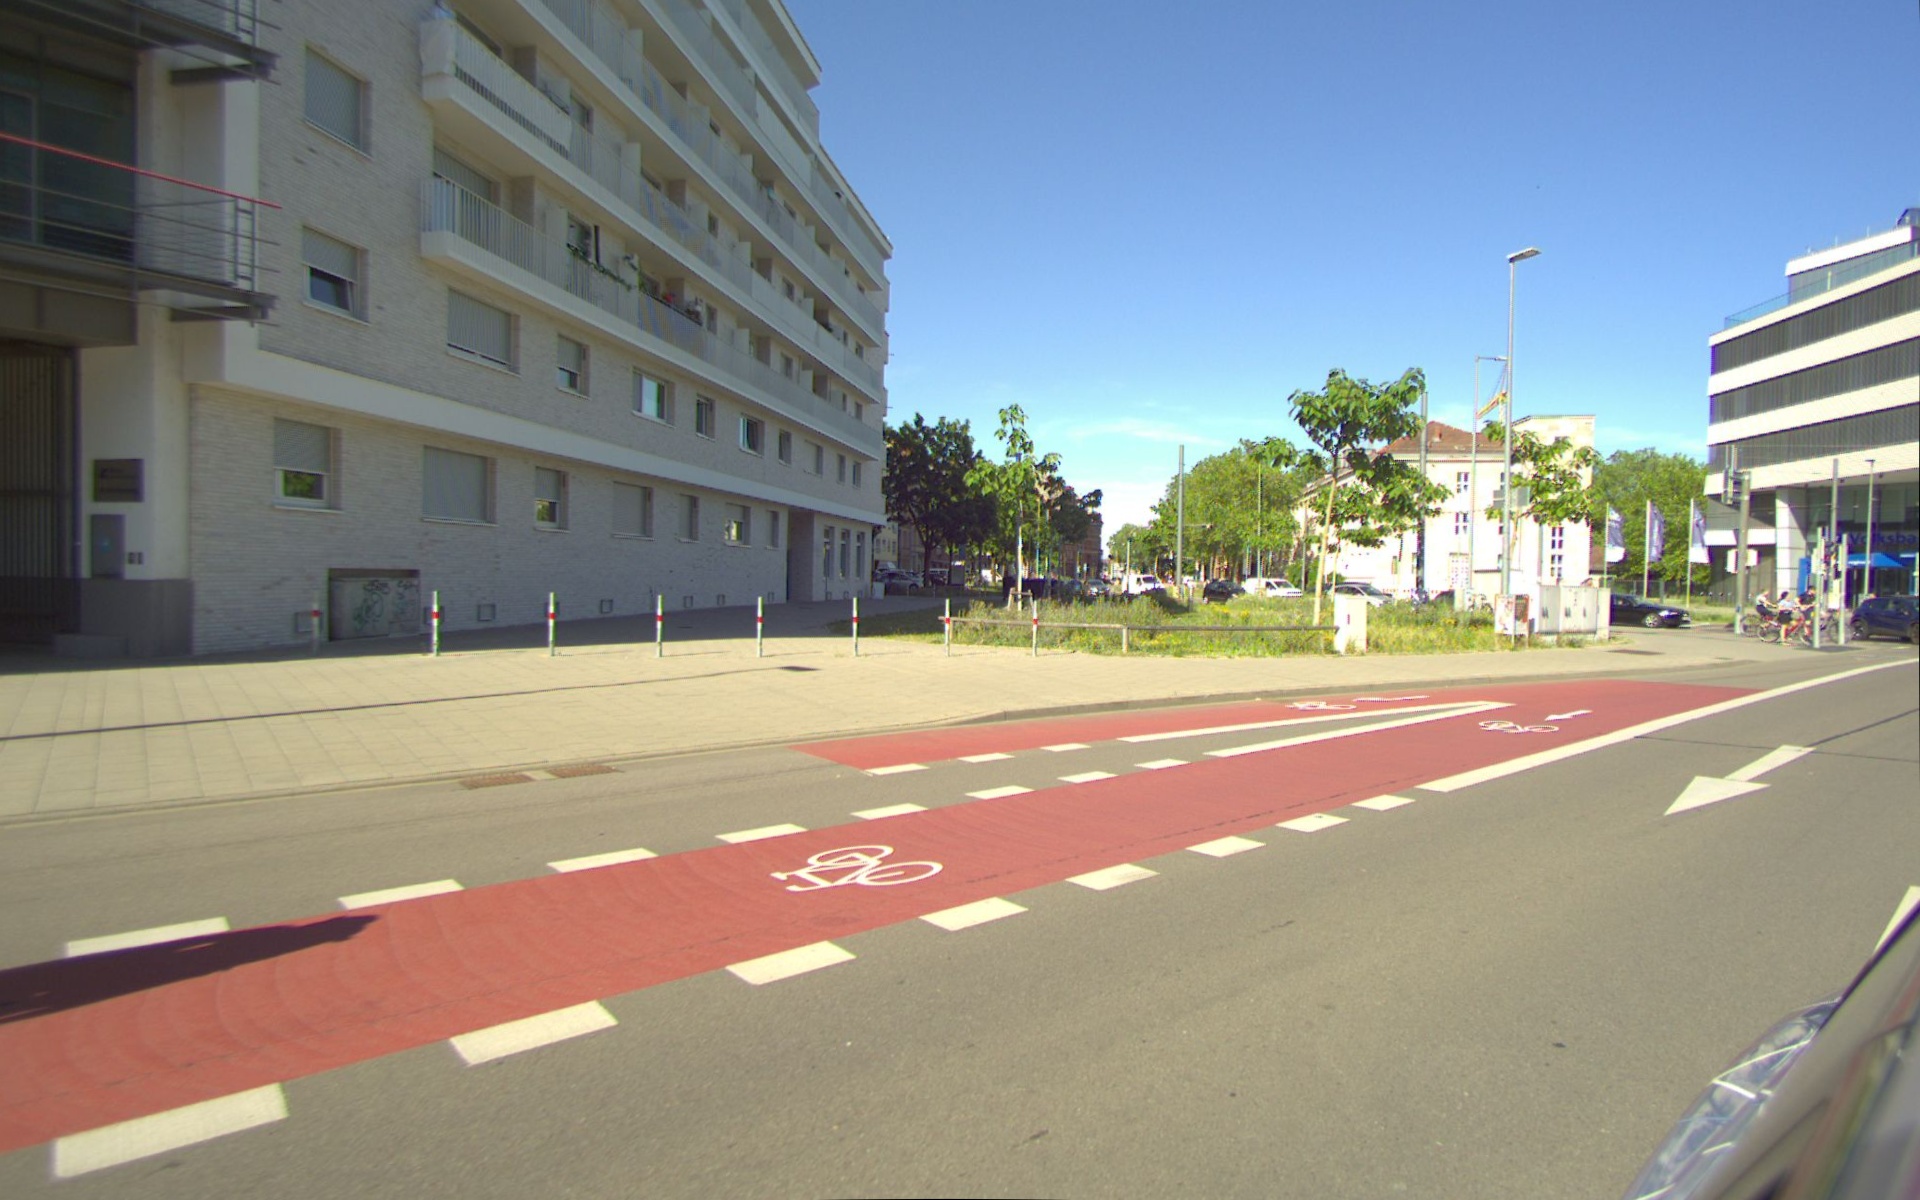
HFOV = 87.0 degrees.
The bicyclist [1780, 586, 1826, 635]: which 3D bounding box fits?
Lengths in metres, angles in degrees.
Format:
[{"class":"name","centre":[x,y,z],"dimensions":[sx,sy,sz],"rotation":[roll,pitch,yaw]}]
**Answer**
[{"class":"bicyclist","centre":[25.132,0.307,30.173],"dimensions":[0.578,1.421,0.829],"rotation":[1,2,-29]}]

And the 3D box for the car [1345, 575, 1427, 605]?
[{"class":"car","centre":[23.968,-0.608,57.044],"dimensions":[1.836,1.575,4.007],"rotation":[0,2,-27]}]

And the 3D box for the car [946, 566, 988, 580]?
[{"class":"car","centre":[0.783,-3.036,114.977],"dimensions":[4.308,1.479,2.005],"rotation":[0,2,-17]}]

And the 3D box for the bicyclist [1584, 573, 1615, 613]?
[{"class":"bicyclist","centre":[23.253,-0.277,36.802],"dimensions":[0.688,1.394,0.734],"rotation":[4,2,18]}]

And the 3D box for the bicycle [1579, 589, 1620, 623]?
[{"class":"bicycle","centre":[23.200,0.208,36.751],"dimensions":[0.687,1.118,2.001],"rotation":[4,2,17]}]

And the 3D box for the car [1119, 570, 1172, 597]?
[{"class":"car","centre":[14.539,-1.324,79.463],"dimensions":[1.836,2.006,4.665],"rotation":[0,2,-23]}]

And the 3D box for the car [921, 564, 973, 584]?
[{"class":"car","centre":[-1.263,-2.478,96.951],"dimensions":[4.696,1.793,1.735],"rotation":[0,2,-27]}]

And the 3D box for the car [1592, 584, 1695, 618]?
[{"class":"car","centre":[32.985,0.014,48.928],"dimensions":[1.637,1.448,3.841],"rotation":[-3,3,-28]}]

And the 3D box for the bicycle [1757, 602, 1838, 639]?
[{"class":"bicycle","centre":[25.009,0.597,30.252],"dimensions":[0.682,0.966,1.710],"rotation":[1,2,-29]}]

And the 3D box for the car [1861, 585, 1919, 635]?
[{"class":"car","centre":[32.499,0.345,33.670],"dimensions":[1.844,1.575,3.991],"rotation":[1,2,8]}]

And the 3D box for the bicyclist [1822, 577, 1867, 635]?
[{"class":"bicyclist","centre":[28.671,0.201,32.821],"dimensions":[0.539,1.820,0.907],"rotation":[1,2,-34]}]

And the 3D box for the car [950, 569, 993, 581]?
[{"class":"car","centre":[1.293,-2.828,112.380],"dimensions":[4.308,1.249,2.005],"rotation":[0,2,-17]}]

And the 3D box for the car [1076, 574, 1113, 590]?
[{"class":"car","centre":[12.006,-1.637,90.623],"dimensions":[1.836,1.286,4.664],"rotation":[1,2,-11]}]

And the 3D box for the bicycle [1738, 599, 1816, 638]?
[{"class":"bicycle","centre":[28.530,0.632,35.375],"dimensions":[0.682,1.118,2.017],"rotation":[4,3,-15]}]

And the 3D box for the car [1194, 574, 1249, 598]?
[{"class":"car","centre":[18.128,-1.015,70.318],"dimensions":[1.835,1.575,4.010],"rotation":[0,2,-18]}]

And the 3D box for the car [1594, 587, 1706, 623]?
[{"class":"car","centre":[30.645,0.207,45.087],"dimensions":[1.553,1.451,3.845],"rotation":[0,2,-26]}]

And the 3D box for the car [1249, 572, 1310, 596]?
[{"class":"car","centre":[22.024,-1.098,69.924],"dimensions":[1.836,1.575,4.009],"rotation":[0,2,-23]}]

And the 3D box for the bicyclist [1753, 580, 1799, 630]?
[{"class":"bicyclist","centre":[28.542,0.170,35.420],"dimensions":[0.583,1.674,1.006],"rotation":[2,3,-14]}]

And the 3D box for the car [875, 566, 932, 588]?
[{"class":"car","centre":[-4.400,-1.782,78.207],"dimensions":[3.918,1.682,2.004],"rotation":[0,2,-27]}]

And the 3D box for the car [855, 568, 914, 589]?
[{"class":"car","centre":[-5.648,-1.617,75.289],"dimensions":[3.918,1.482,2.004],"rotation":[0,2,-27]}]

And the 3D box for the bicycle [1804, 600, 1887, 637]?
[{"class":"bicycle","centre":[28.670,0.592,32.802],"dimensions":[0.594,1.050,1.897],"rotation":[1,2,-34]}]
